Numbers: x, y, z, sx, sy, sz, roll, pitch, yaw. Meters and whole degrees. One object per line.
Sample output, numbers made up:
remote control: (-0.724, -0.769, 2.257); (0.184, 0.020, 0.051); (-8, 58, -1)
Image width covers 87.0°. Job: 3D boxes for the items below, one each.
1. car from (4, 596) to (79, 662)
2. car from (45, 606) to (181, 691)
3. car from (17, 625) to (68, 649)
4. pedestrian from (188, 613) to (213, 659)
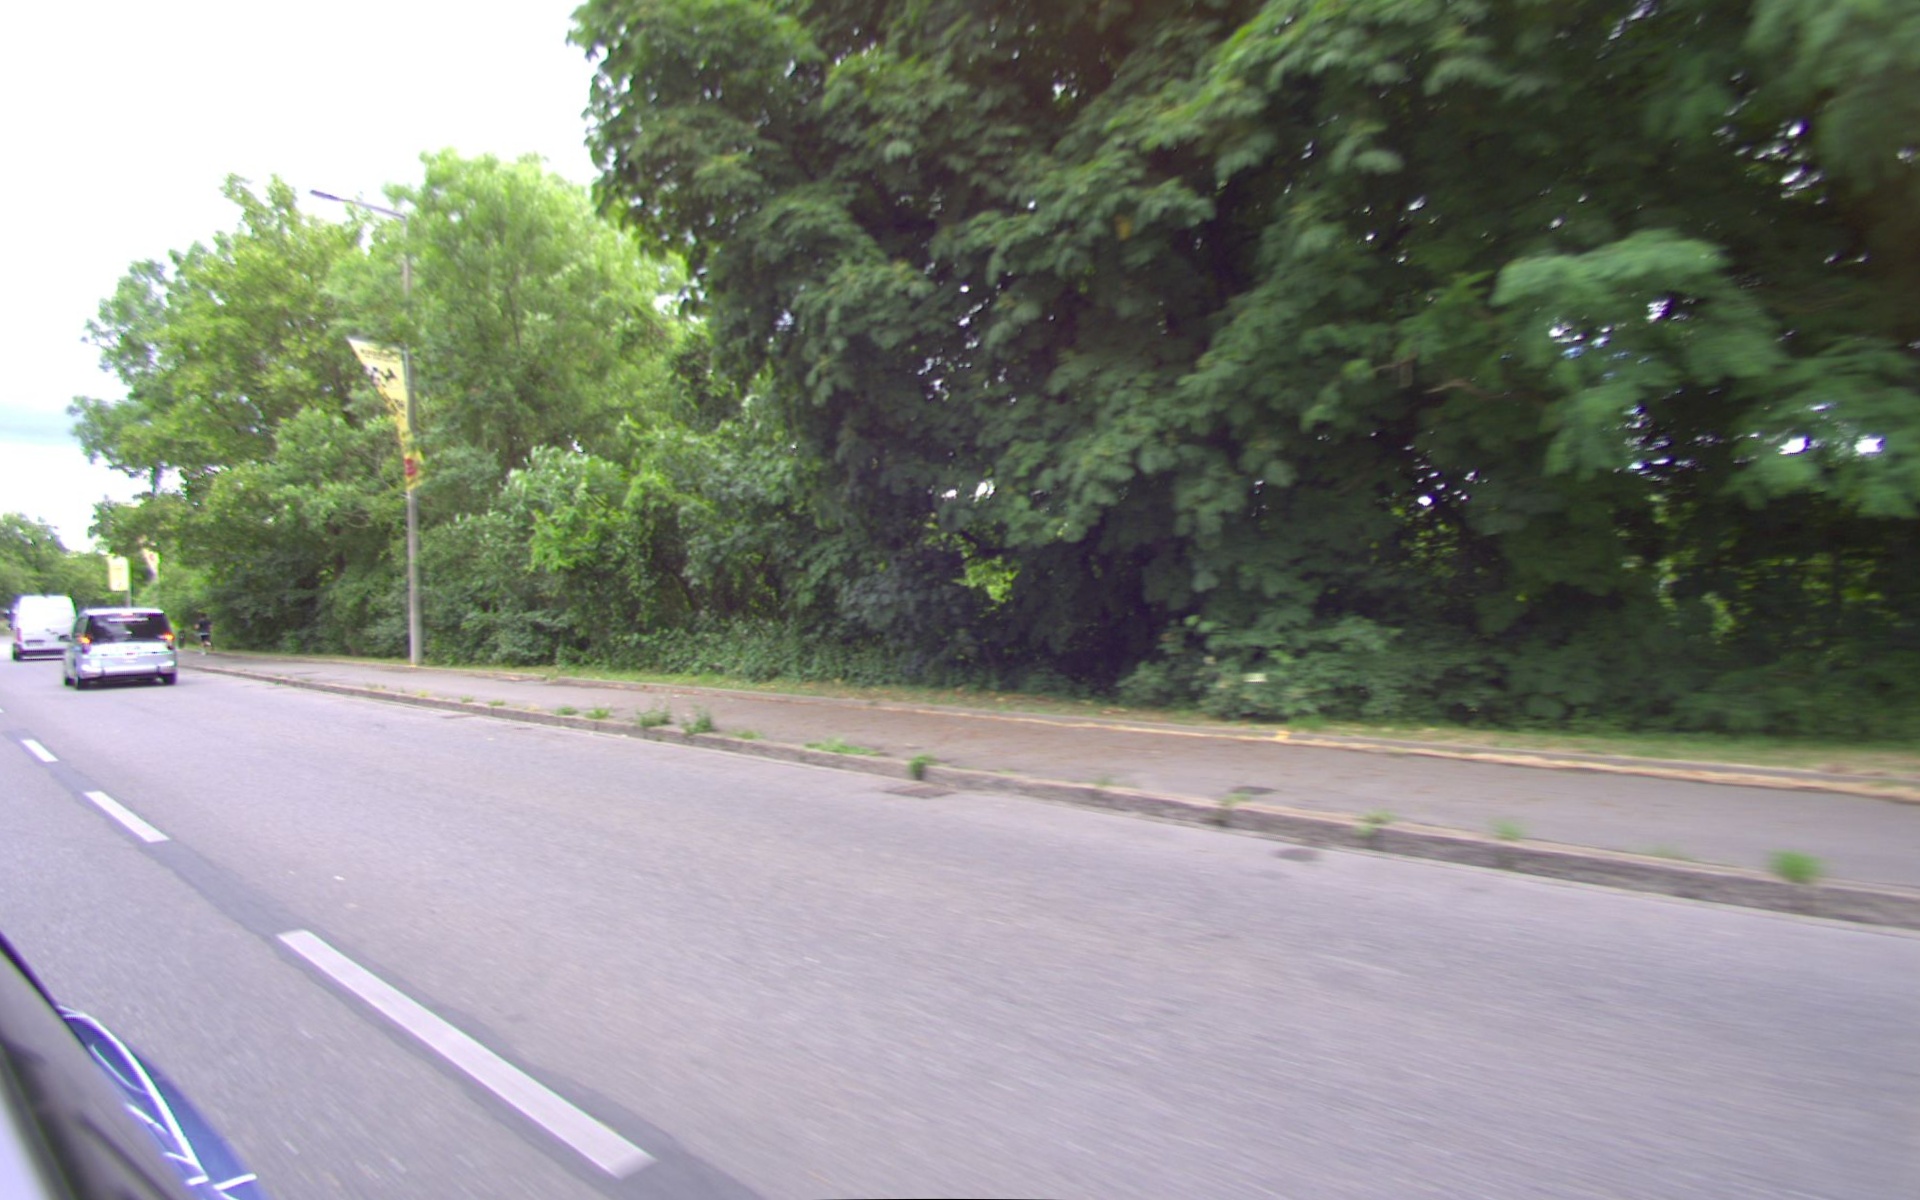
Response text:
car: (-39.494, 1.253, 43.449); (5.895, 2.646, 1.971); (-3, -2, 44)
car: (-20.115, 1.100, 23.962); (4.555, 1.813, 1.837); (-2, -1, 42)
car: (-60.059, 2.415, 66.302); (1.700, 1.439, 4.012); (-1, 0, -31)
pedestrian: (-29.713, 1.402, 39.582); (0.814, 1.727, 0.593); (-2, 1, 43)
